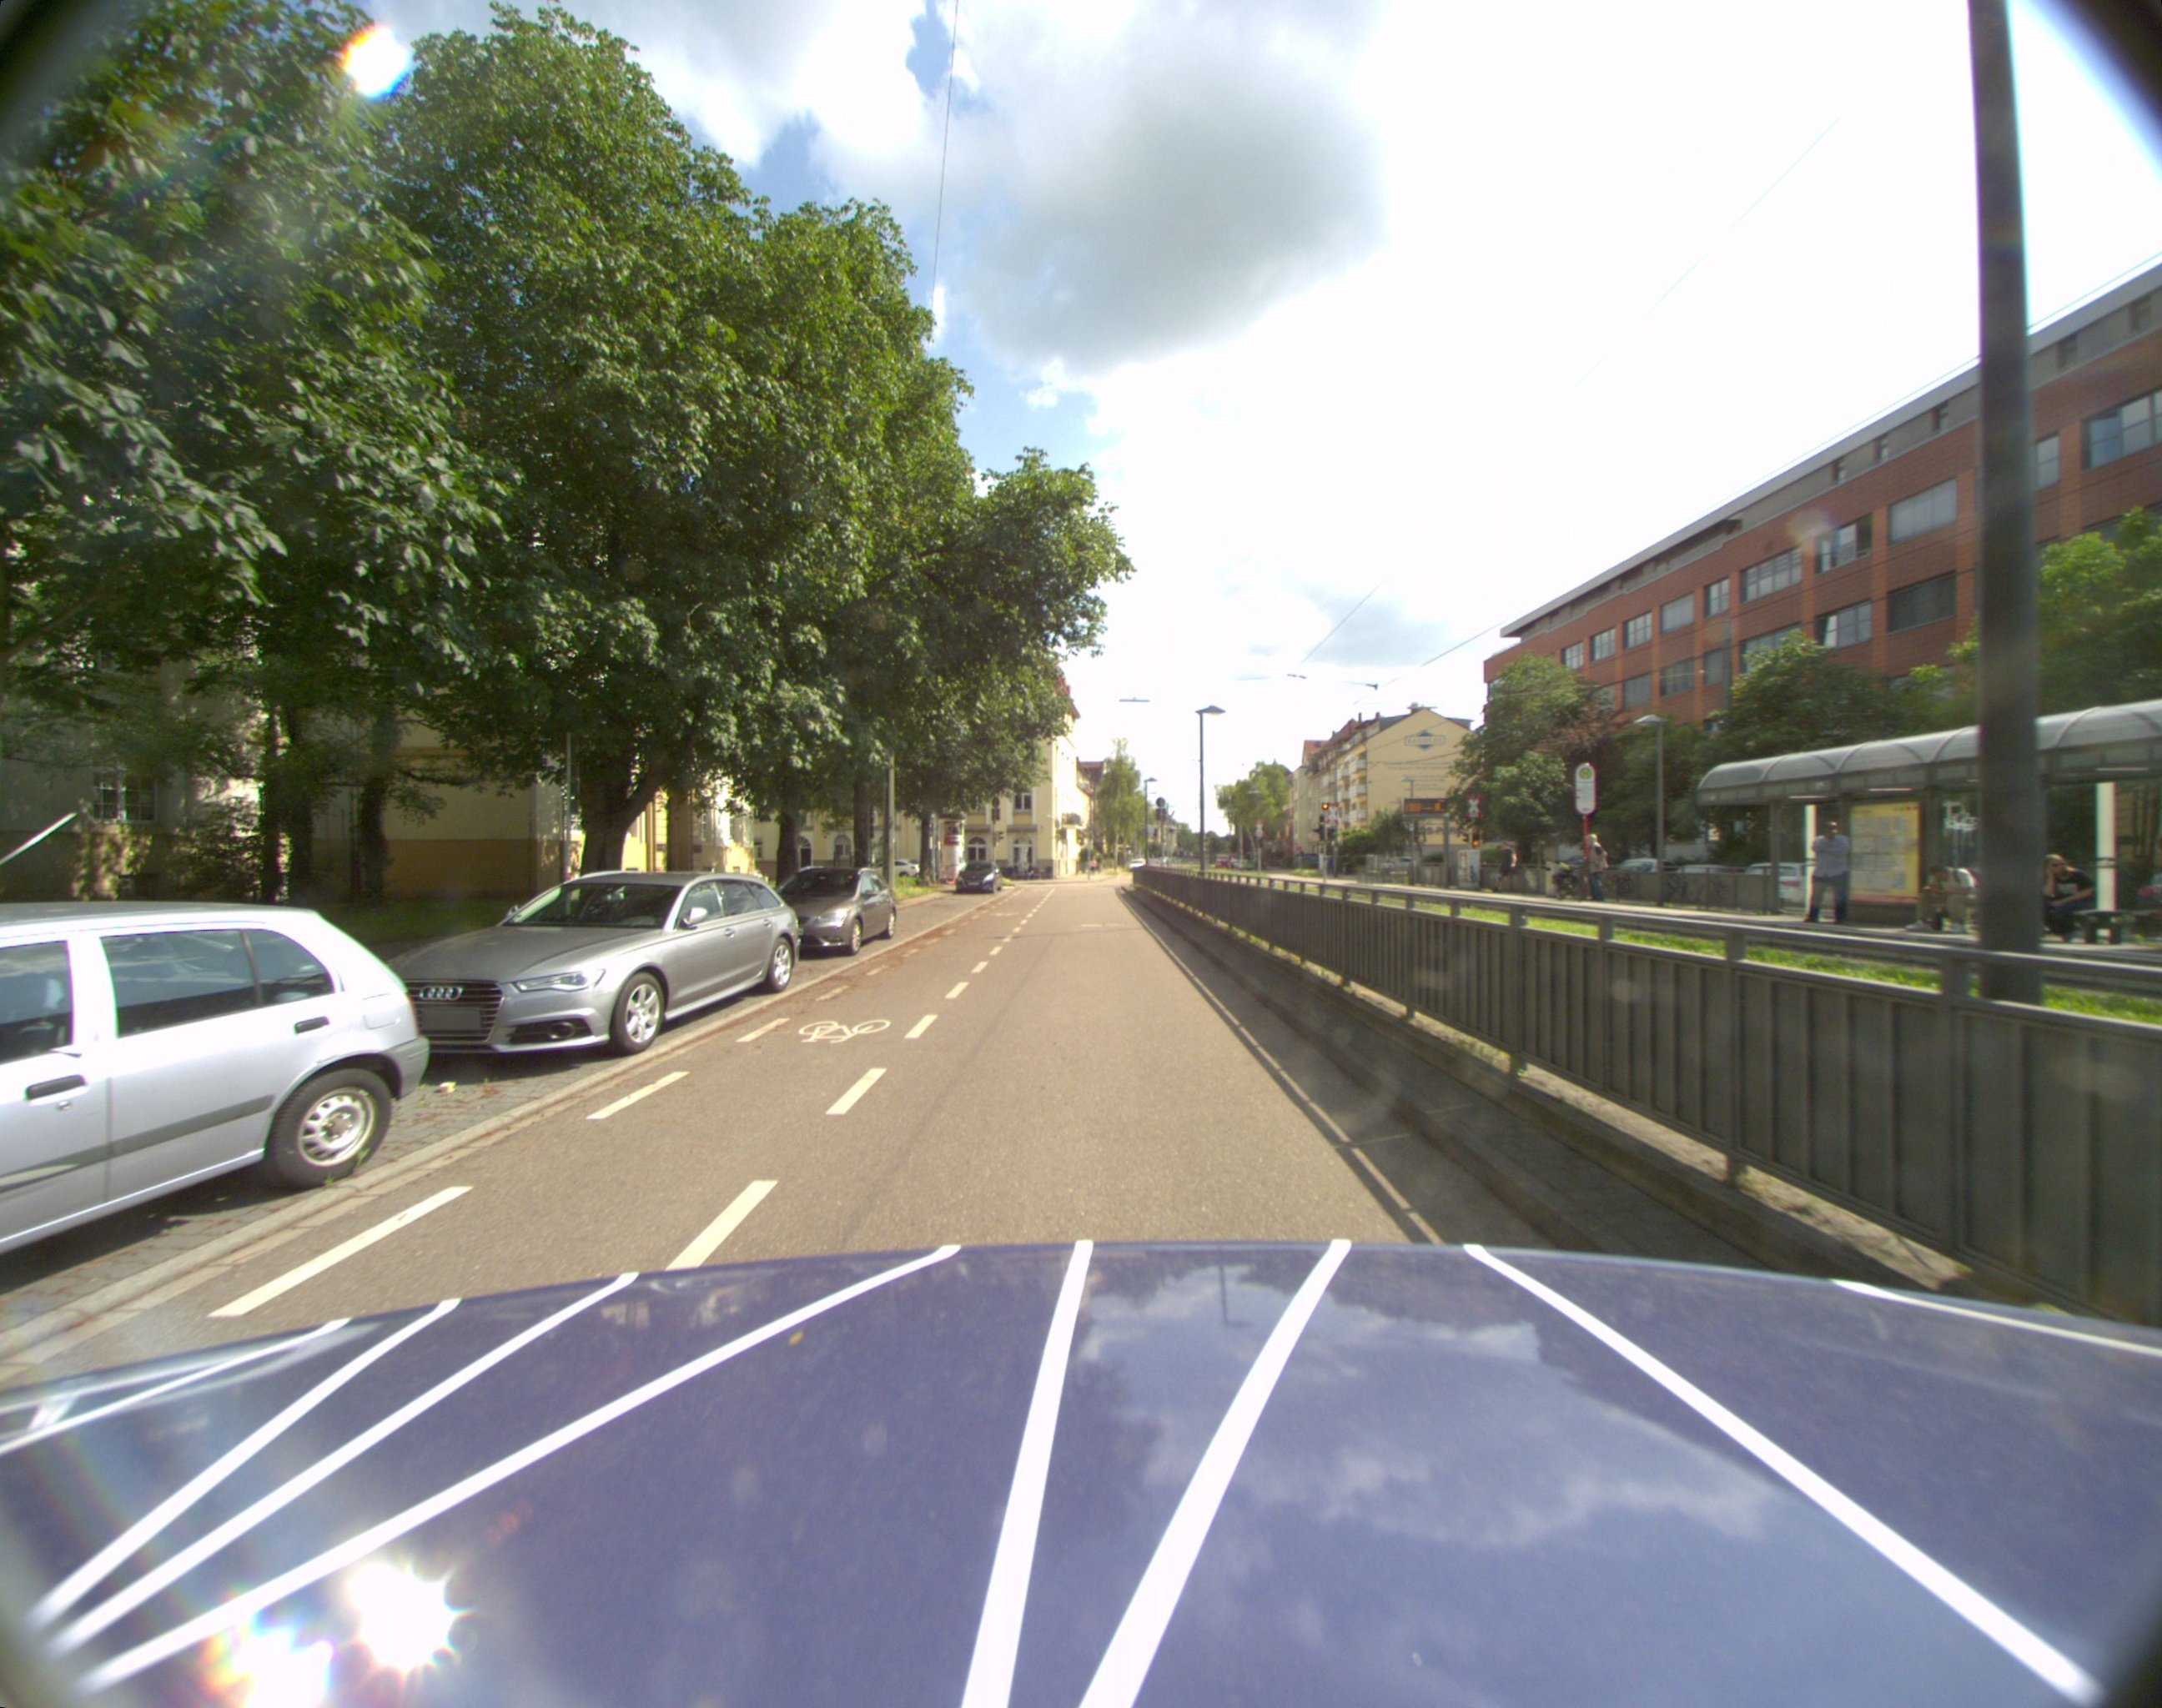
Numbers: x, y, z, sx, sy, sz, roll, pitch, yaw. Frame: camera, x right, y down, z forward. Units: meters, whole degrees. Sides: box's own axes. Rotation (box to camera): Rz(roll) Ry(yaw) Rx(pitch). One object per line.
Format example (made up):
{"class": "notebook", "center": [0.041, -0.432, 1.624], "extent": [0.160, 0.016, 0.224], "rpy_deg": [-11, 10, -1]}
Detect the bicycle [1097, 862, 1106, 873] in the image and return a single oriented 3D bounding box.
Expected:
{"class": "bicycle", "center": [2.149, 1.422, 80.179], "extent": [0.772, 1.097, 2.570], "rpy_deg": [-1, 0, -3]}

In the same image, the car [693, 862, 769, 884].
{"class": "car", "center": [-23.092, 1.221, 50.204], "extent": [1.852, 1.344, 4.188], "rpy_deg": [0, 0, 36]}

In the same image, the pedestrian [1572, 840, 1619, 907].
{"class": "pedestrian", "center": [13.355, 0.485, 19.735], "extent": [0.640, 1.714, 0.798], "rpy_deg": [0, 1, -2]}

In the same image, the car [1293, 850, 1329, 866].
{"class": "car", "center": [29.780, 0.564, 98.499], "extent": [4.255, 2.002, 2.002], "rpy_deg": [0, 0, 9]}

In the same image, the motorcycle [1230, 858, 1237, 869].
{"class": "motorcycle", "center": [20.404, 1.325, 101.716], "extent": [0.634, 1.395, 2.010], "rpy_deg": [-2, 1, 3]}

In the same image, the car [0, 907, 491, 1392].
{"class": "car", "center": [-4.387, 1.044, 2.466], "extent": [1.639, 1.423, 4.016], "rpy_deg": [2, 0, 3]}

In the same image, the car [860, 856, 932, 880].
{"class": "car", "center": [-13.787, 1.015, 56.679], "extent": [4.828, 1.646, 1.858], "rpy_deg": [-1, 2, 10]}

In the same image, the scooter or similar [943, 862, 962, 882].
{"class": "scooter or similar", "center": [-7.475, 1.043, 44.256], "extent": [0.414, 1.171, 1.128], "rpy_deg": [-2, -1, 29]}

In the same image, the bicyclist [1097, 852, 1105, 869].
{"class": "bicyclist", "center": [2.137, 0.680, 79.928], "extent": [0.772, 1.663, 0.951], "rpy_deg": [-1, -2, -2]}

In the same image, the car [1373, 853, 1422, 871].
{"class": "car", "center": [28.104, 0.733, 67.552], "extent": [3.608, 1.470, 1.777], "rpy_deg": [0, -3, 7]}

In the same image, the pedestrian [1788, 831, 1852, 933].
{"class": "pedestrian", "center": [12.758, 0.463, 13.134], "extent": [0.487, 1.716, 0.623], "rpy_deg": [-1, 1, -2]}

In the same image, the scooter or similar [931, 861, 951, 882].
{"class": "scooter or similar", "center": [-8.206, 1.029, 44.621], "extent": [1.105, 1.234, 0.447], "rpy_deg": [0, 0, 23]}

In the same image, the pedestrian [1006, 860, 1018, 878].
{"class": "pedestrian", "center": [-5.278, 1.137, 58.159], "extent": [0.804, 1.281, 0.759], "rpy_deg": [0, 2, 3]}

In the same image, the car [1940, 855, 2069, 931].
{"class": "car", "center": [22.545, 0.849, 18.517], "extent": [4.008, 1.630, 1.668], "rpy_deg": [0, 2, -36]}

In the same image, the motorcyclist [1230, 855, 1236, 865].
{"class": "motorcyclist", "center": [20.403, 0.795, 101.707], "extent": [0.663, 1.350, 0.693], "rpy_deg": [-2, 1, 3]}

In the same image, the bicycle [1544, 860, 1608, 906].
{"class": "bicycle", "center": [12.938, 0.740, 19.916], "extent": [0.663, 1.107, 1.878], "rpy_deg": [1, 1, 9]}

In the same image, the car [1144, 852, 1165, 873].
{"class": "car", "center": [7.694, 0.875, 78.793], "extent": [1.997, 2.002, 4.001], "rpy_deg": [-2, 1, 7]}

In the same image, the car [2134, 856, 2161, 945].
{"class": "car", "center": [22.363, 0.871, 15.081], "extent": [4.007, 1.520, 1.668], "rpy_deg": [-3, 0, -35]}

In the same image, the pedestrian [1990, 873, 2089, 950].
{"class": "pedestrian", "center": [13.529, 0.802, 10.741], "extent": [0.655, 1.025, 0.562], "rpy_deg": [1, 1, -2]}

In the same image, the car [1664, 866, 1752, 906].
{"class": "car", "center": [22.374, 1.093, 27.098], "extent": [3.258, 1.296, 1.599], "rpy_deg": [0, 0, -35]}

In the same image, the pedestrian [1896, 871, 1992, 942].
{"class": "pedestrian", "center": [13.126, 0.792, 11.575], "extent": [0.721, 1.025, 0.623], "rpy_deg": [1, 1, -2]}

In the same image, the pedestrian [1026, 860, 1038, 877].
{"class": "pedestrian", "center": [-3.746, 1.102, 58.603], "extent": [0.804, 1.238, 0.892], "rpy_deg": [0, 2, 3]}

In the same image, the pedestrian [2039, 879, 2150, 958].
{"class": "pedestrian", "center": [13.494, 0.841, 10.127], "extent": [0.706, 0.989, 0.562], "rpy_deg": [1, 1, -2]}

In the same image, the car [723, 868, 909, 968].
{"class": "car", "center": [-4.627, 1.042, 14.107], "extent": [1.834, 1.392, 4.656], "rpy_deg": [3, 0, -1]}

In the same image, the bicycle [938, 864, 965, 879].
{"class": "bicycle", "center": [-9.497, 1.283, 55.628], "extent": [1.941, 1.039, 0.617], "rpy_deg": [1, 2, 22]}

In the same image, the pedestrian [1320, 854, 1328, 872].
{"class": "pedestrian", "center": [23.234, 0.885, 72.612], "extent": [0.650, 1.700, 0.588], "rpy_deg": [0, 0, 1]}

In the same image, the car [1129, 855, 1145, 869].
{"class": "car", "center": [6.866, 0.958, 92.944], "extent": [1.848, 1.606, 3.814], "rpy_deg": [-2, 1, 3]}

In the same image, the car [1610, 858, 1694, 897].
{"class": "car", "center": [23.088, 0.900, 30.693], "extent": [4.008, 1.487, 1.646], "rpy_deg": [0, 0, -37]}

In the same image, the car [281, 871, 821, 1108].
{"class": "car", "center": [-4.462, 0.972, 7.676], "extent": [1.833, 1.433, 5.049], "rpy_deg": [3, 0, 0]}

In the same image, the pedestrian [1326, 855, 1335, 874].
{"class": "pedestrian", "center": [22.612, 0.924, 68.799], "extent": [0.650, 1.700, 0.481], "rpy_deg": [0, 0, 1]}

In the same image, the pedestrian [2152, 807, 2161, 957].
{"class": "pedestrian", "center": [13.275, 0.341, 8.933], "extent": [0.444, 1.816, 0.623], "rpy_deg": [0, 1, -2]}

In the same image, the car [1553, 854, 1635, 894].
{"class": "car", "center": [22.221, 0.826, 32.892], "extent": [3.850, 1.649, 1.870], "rpy_deg": [0, 0, -39]}

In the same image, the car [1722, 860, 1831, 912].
{"class": "car", "center": [22.003, 0.959, 24.024], "extent": [3.317, 1.412, 1.581], "rpy_deg": [-3, 1, -30]}

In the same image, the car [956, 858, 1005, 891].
{"class": "car", "center": [-4.545, 0.903, 34.922], "extent": [1.689, 1.379, 3.924], "rpy_deg": [1, 1, 1]}

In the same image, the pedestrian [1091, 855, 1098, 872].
{"class": "pedestrian", "center": [1.282, 0.914, 72.878], "extent": [0.593, 1.622, 0.538], "rpy_deg": [2, 0, 3]}

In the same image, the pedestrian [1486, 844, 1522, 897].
{"class": "pedestrian", "center": [13.770, 0.527, 24.744], "extent": [0.667, 1.689, 0.798], "rpy_deg": [0, 1, -2]}
